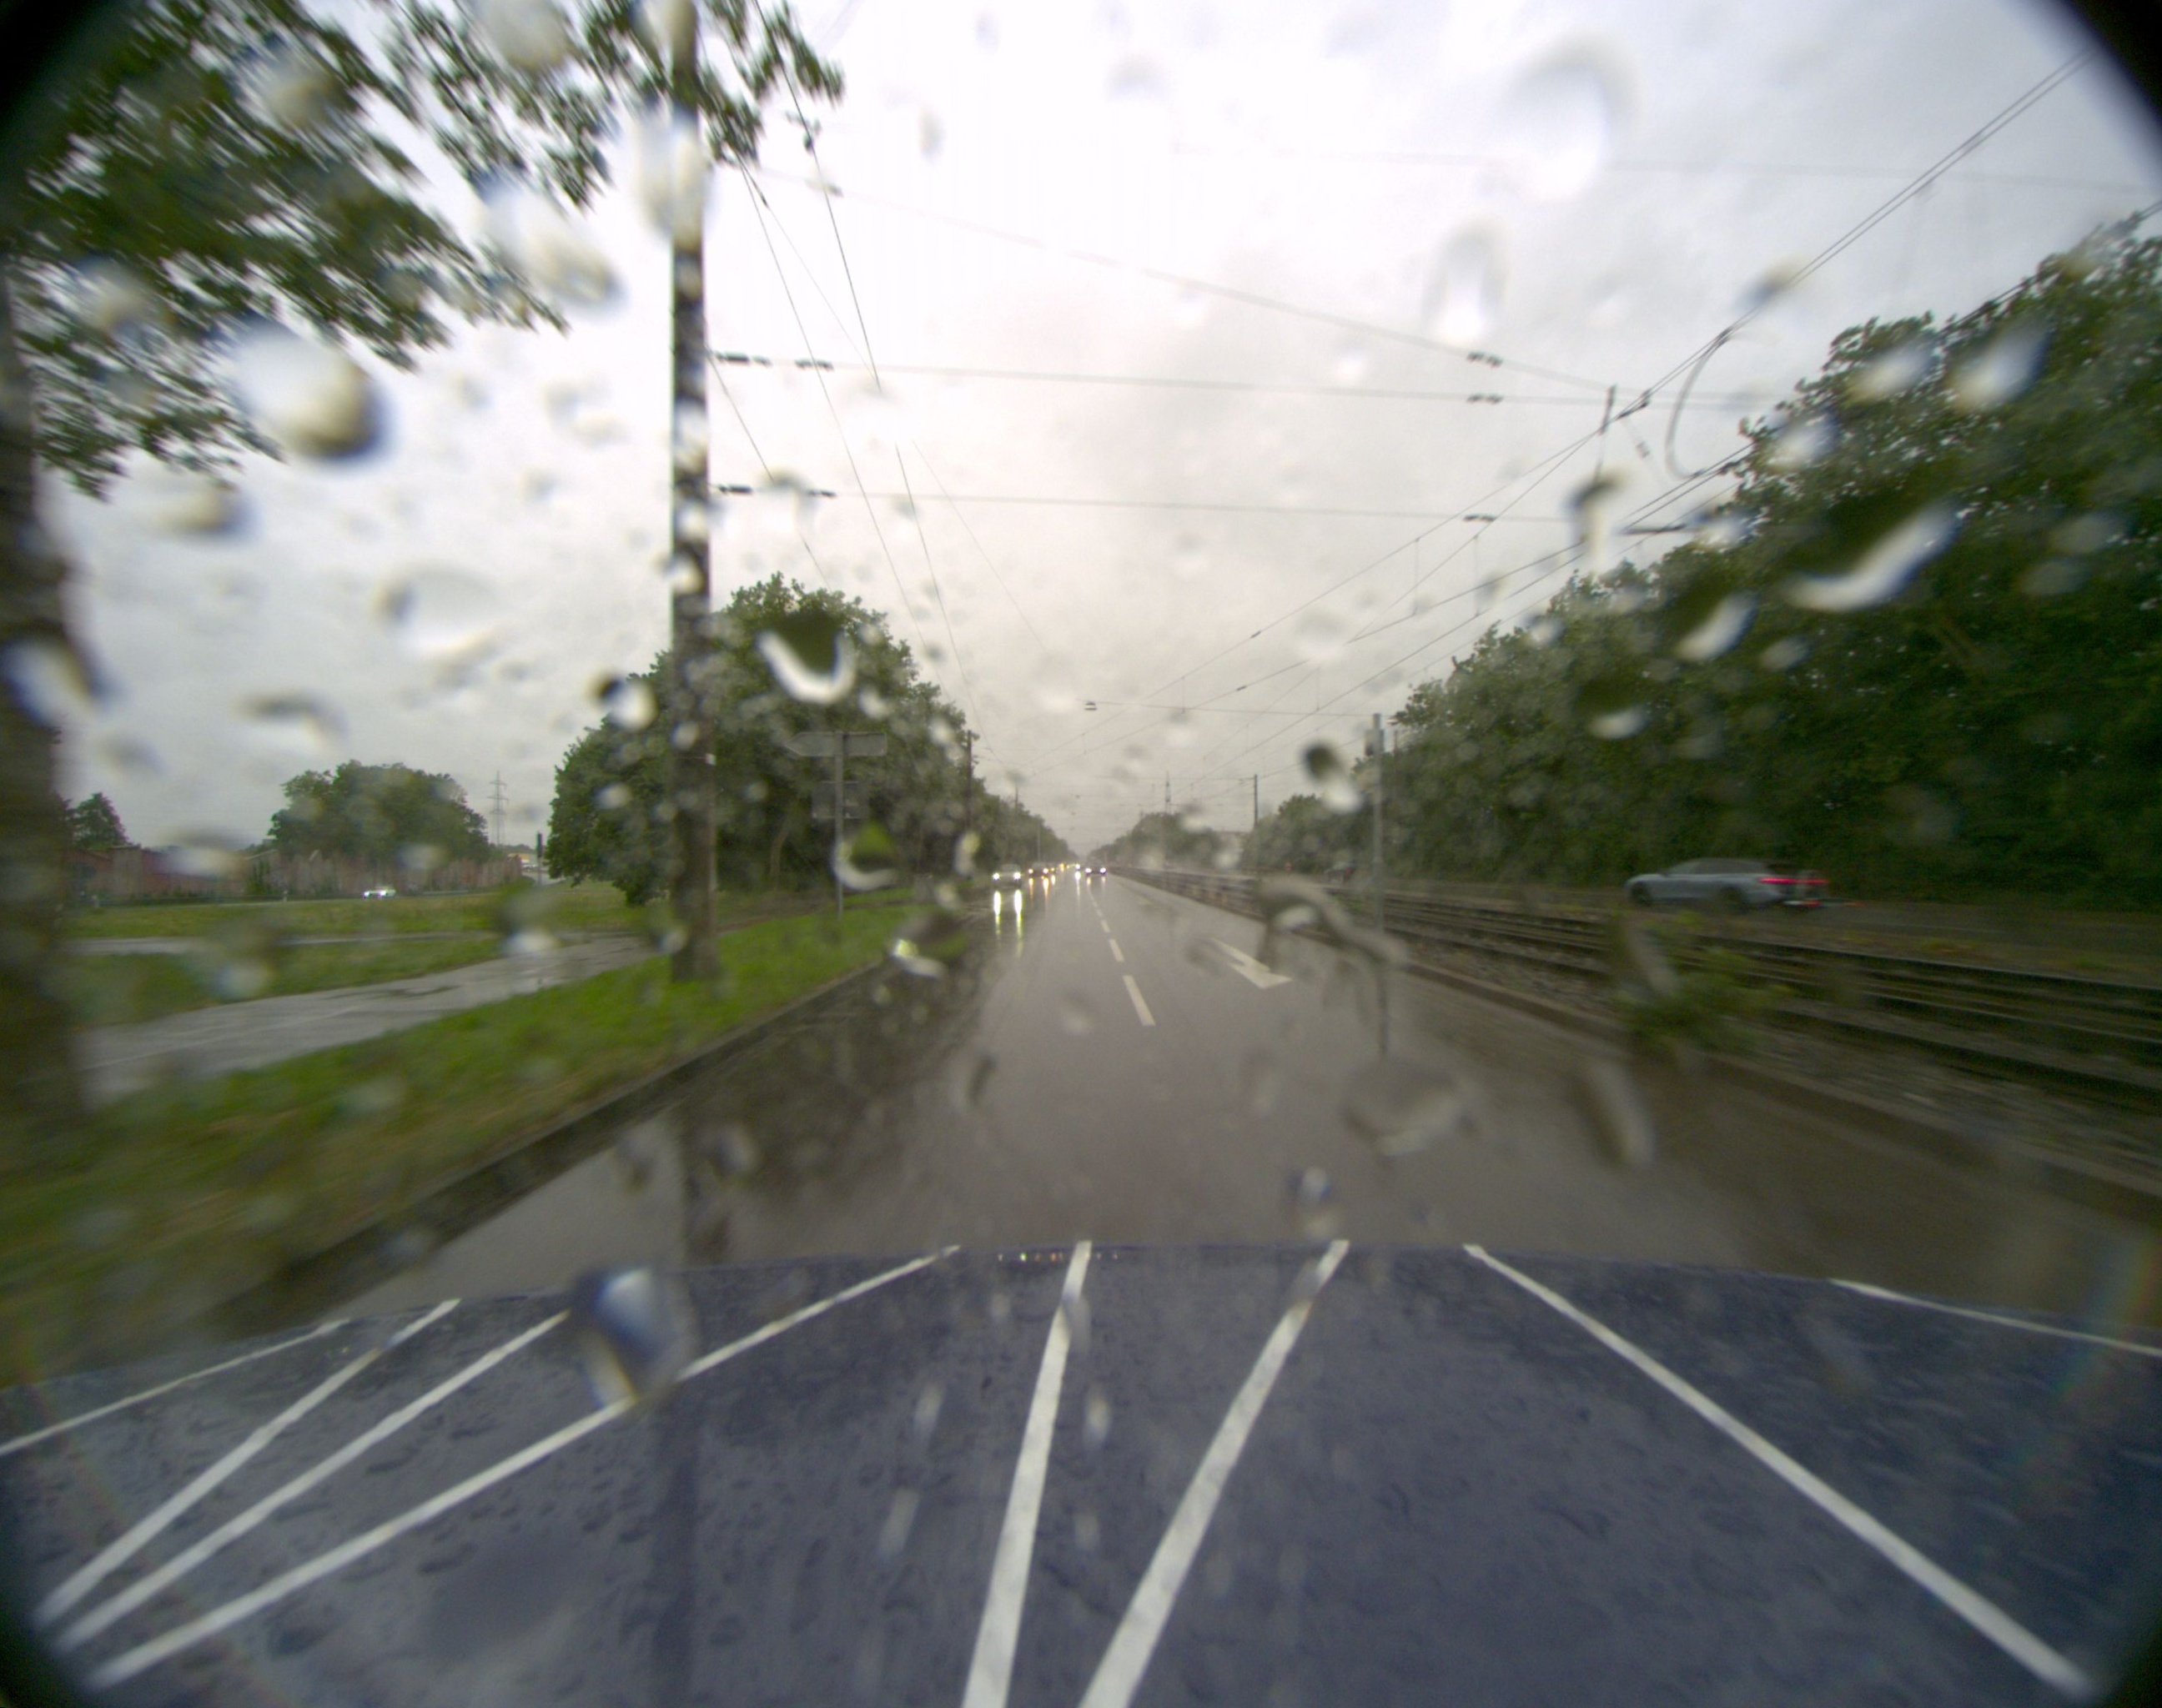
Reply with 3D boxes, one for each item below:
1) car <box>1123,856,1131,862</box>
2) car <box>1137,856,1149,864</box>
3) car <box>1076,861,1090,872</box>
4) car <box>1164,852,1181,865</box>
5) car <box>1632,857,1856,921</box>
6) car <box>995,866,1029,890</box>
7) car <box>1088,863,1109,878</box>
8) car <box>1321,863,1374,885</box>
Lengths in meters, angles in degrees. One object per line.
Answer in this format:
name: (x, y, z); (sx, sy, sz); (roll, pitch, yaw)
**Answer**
car: (13.119, 1.478, 218.012); (1.846, 1.565, 4.384); (-1, 0, -1)
car: (13.759, 1.257, 168.618); (1.999, 1.662, 4.871); (-1, 0, -2)
car: (0.261, 1.787, 108.411); (1.971, 1.412, 3.999); (0, 0, -1)
car: (14.812, 0.729, 123.563); (1.999, 1.772, 4.000); (-5, 0, -1)
car: (17.813, 0.865, 20.822); (1.695, 1.514, 4.954); (-1, 0, -2)
car: (-4.274, 1.468, 47.535); (1.751, 1.412, 3.999); (0, 0, -1)
car: (1.758, 1.640, 76.927); (1.971, 1.412, 3.999); (0, 0, -1)
car: (17.449, 1.287, 49.977); (1.776, 1.322, 4.379); (-1, 0, -2)
